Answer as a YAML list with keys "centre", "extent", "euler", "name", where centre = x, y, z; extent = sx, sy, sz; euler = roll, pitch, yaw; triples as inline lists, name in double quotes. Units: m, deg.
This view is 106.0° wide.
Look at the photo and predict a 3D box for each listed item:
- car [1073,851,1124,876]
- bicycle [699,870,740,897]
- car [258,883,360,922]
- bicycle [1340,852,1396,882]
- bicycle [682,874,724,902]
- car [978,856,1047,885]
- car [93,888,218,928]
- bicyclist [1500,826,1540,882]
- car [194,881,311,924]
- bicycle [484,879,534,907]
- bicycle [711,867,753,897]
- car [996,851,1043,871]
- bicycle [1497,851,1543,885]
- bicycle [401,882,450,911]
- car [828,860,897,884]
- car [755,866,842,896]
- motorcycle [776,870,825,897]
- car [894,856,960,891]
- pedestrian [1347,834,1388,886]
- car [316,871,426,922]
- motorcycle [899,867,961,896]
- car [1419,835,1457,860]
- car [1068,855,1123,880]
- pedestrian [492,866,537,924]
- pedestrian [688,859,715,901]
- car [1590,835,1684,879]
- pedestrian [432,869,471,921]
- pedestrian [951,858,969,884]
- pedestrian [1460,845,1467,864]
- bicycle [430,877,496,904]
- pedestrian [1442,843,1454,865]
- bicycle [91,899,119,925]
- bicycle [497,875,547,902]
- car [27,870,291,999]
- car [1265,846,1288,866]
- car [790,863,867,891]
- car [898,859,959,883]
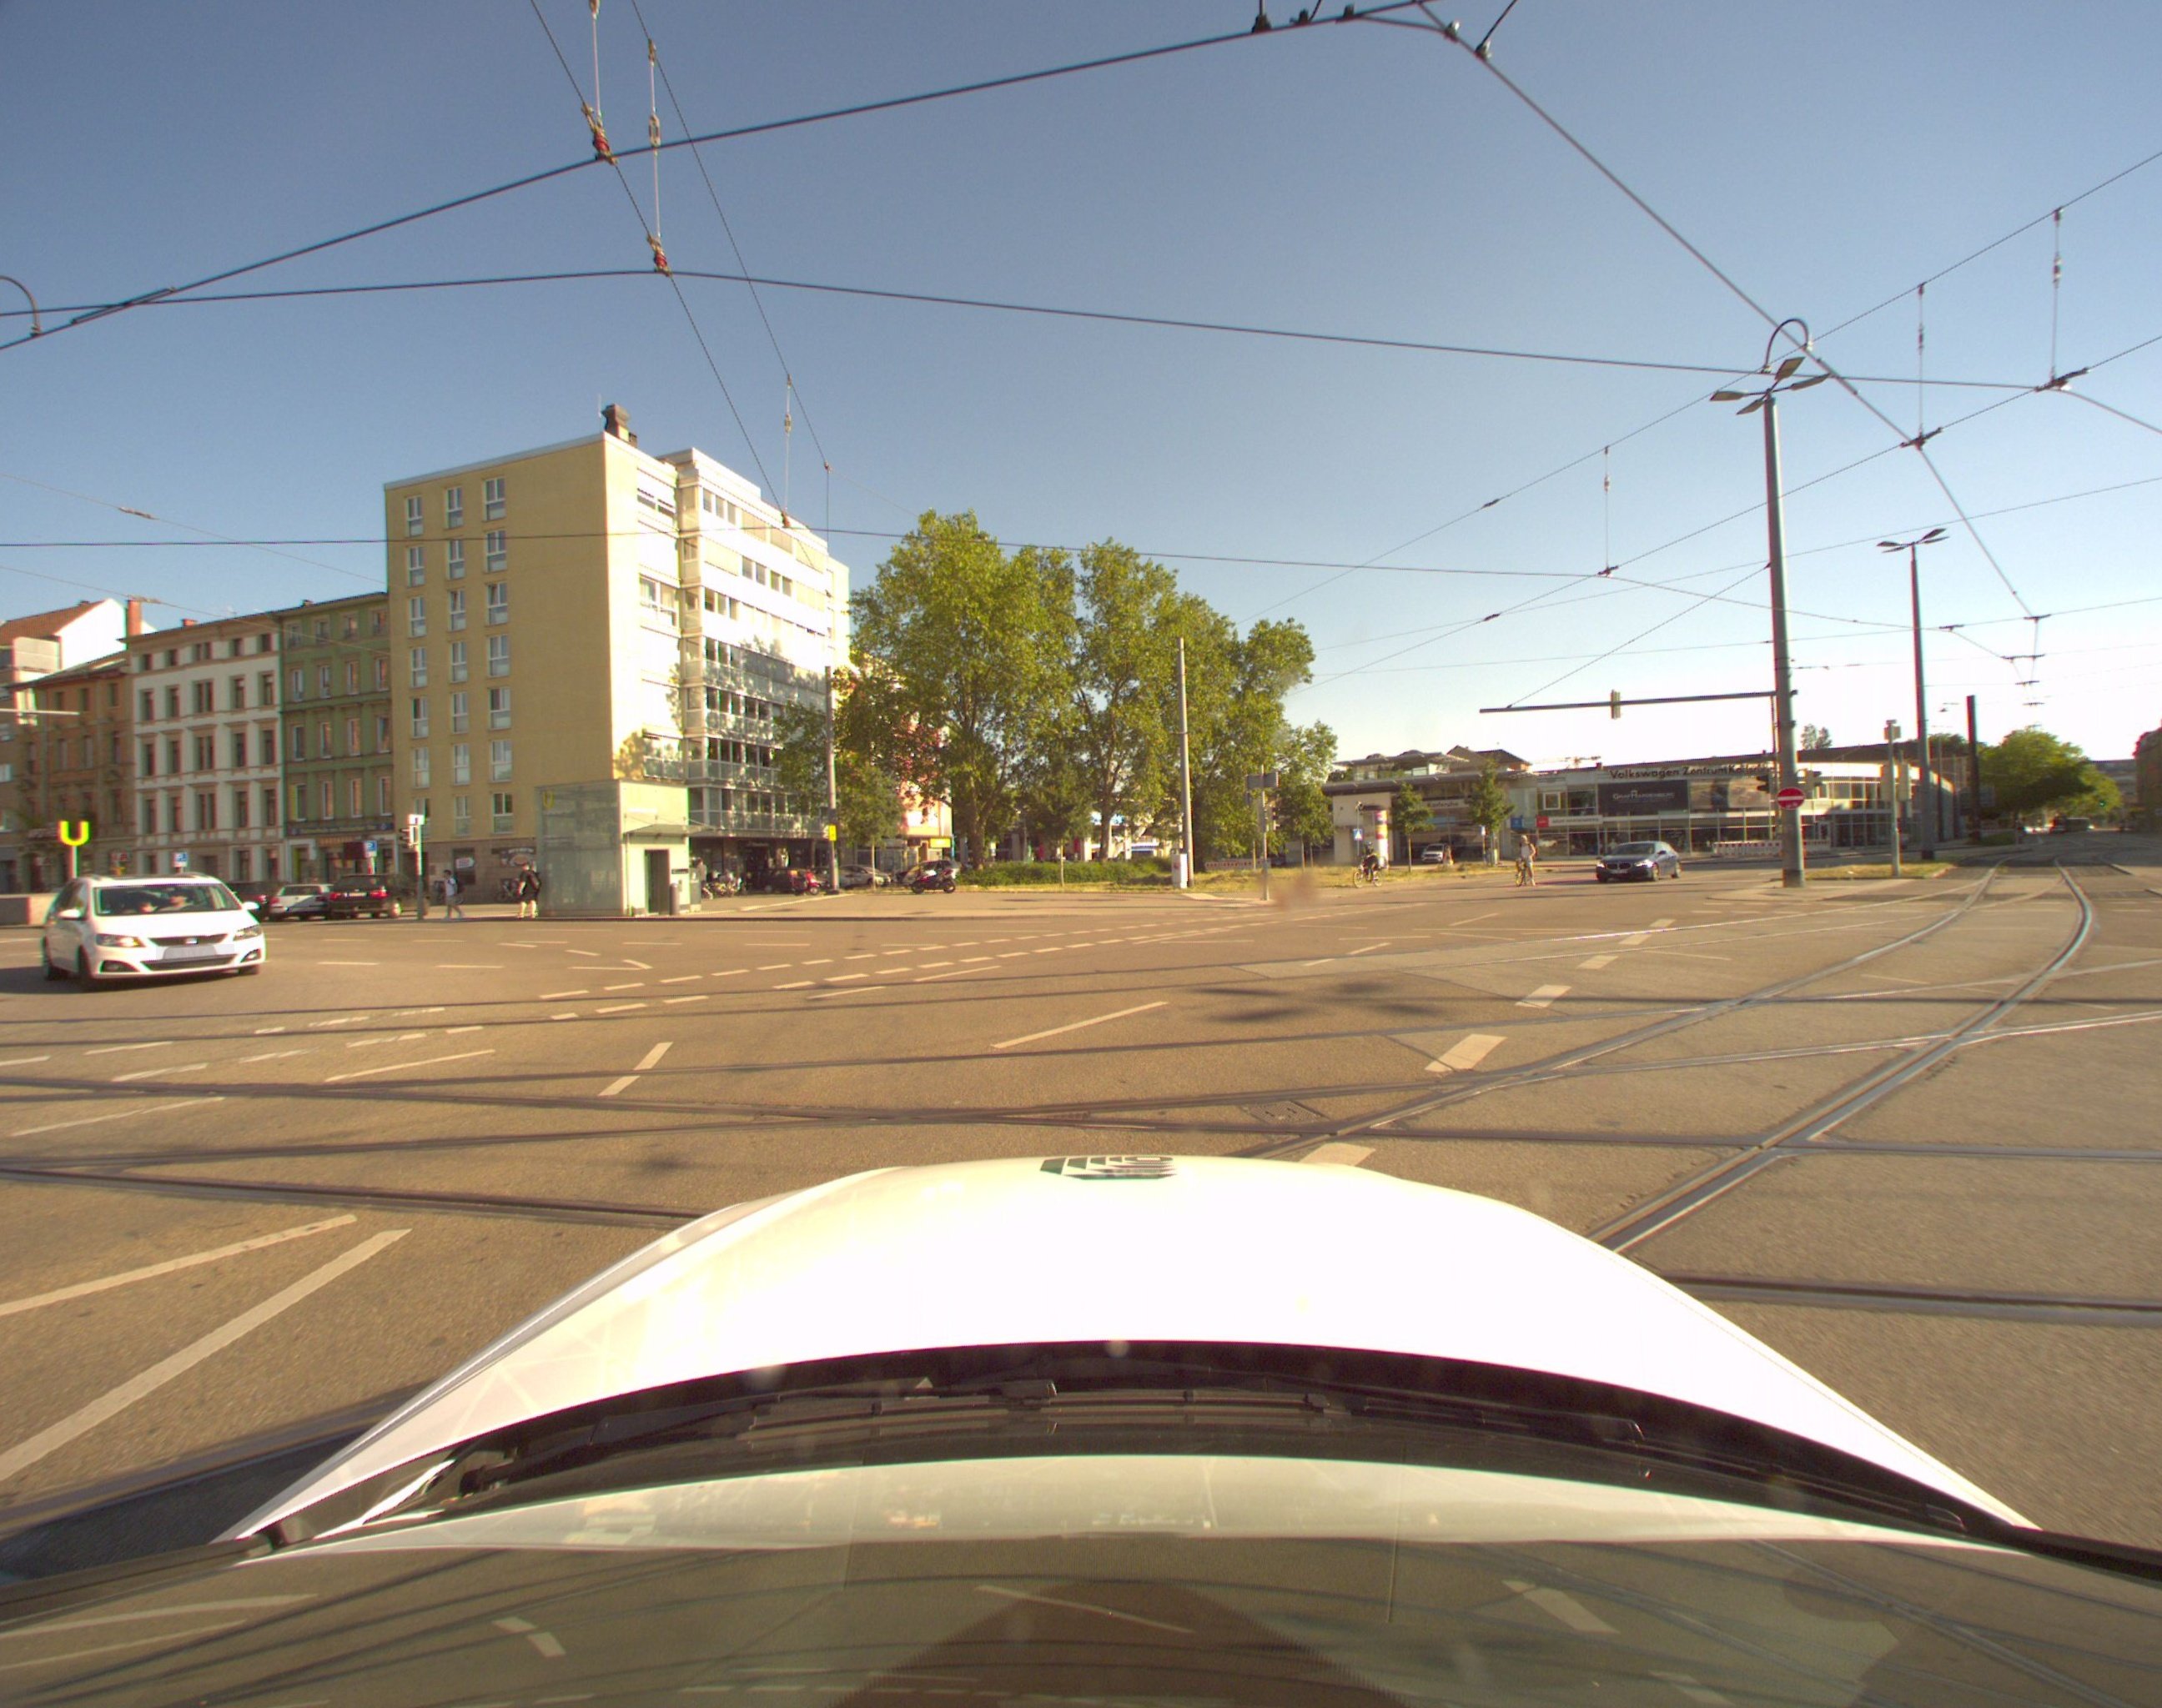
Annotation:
- centre: [1.514, 0.802, 70.082]
  extent: [3.956, 1.999, 1.865]
  euler: [1, 2, 16]
  name: "car"
- centre: [-18.239, 1.464, 41.154]
  extent: [0.807, 1.200, 2.006]
  euler: [-2, 1, 13]
  name: "bicycle"
- centre: [-30.351, 1.905, 32.178]
  extent: [1.792, 1.400, 3.859]
  euler: [-1, -2, -25]
  name: "car"
- centre: [11.631, 0.504, 32.940]
  extent: [2.544, 1.123, 1.022]
  euler: [-1, 2, -41]
  name: "bicycle"
- centre: [-19.160, 1.710, 41.367]
  extent: [0.807, 1.248, 2.006]
  euler: [-2, 1, 13]
  name: "bicycle"
- centre: [-4.035, 0.970, 48.417]
  extent: [3.977, 1.510, 1.798]
  euler: [-2, 0, -3]
  name: "car"
- centre: [-40.340, 2.296, 35.643]
  extent: [1.964, 1.464, 4.081]
  euler: [-2, 0, -23]
  name: "car"
- centre: [16.229, -0.003, 30.095]
  extent: [1.021, 2.014, 1.152]
  euler: [-4, -2, 38]
  name: "bicyclist"
- centre: [-33.687, 1.921, 33.274]
  extent: [1.963, 1.598, 4.216]
  euler: [-1, -2, -25]
  name: "car"
- centre: [-27.968, 1.926, 39.807]
  extent: [2.273, 1.248, 0.662]
  euler: [-2, 1, 16]
  name: "bicycle"
- centre: [-17.426, 1.406, 40.727]
  extent: [0.807, 1.345, 2.006]
  euler: [-2, 1, 13]
  name: "bicycle"
- centre: [-5.740, 0.665, 76.305]
  extent: [3.954, 1.779, 1.866]
  euler: [1, 2, 19]
  name: "car"
- centre: [16.253, 0.499, 30.135]
  extent: [1.021, 1.123, 2.547]
  euler: [-4, -1, 38]
  name: "bicycle"
- centre: [-33.440, 2.148, 41.560]
  extent: [2.202, 1.357, 0.938]
  euler: [1, 2, 21]
  name: "bicycle"
- centre: [-14.254, 1.173, 53.136]
  extent: [3.954, 1.420, 1.866]
  euler: [1, 2, 19]
  name: "car"
- centre: [-15.697, 1.503, 45.311]
  extent: [4.182, 1.482, 1.864]
  euler: [1, 2, 15]
  name: "car"
- centre: [-12.224, 1.281, 35.493]
  extent: [1.784, 1.046, 0.885]
  euler: [-3, 0, 16]
  name: "motorcycle"
- centre: [-8.791, 1.102, 46.926]
  extent: [1.900, 1.698, 4.020]
  euler: [-4, 0, 19]
  name: "car"
- centre: [11.569, 0.222, 32.877]
  extent: [1.277, 2.013, 1.022]
  euler: [-1, 2, -41]
  name: "pedestrian"
- centre: [-27.397, 1.604, 31.620]
  extent: [1.962, 1.814, 4.218]
  euler: [-1, -2, -23]
  name: "car"
- centre: [-6.136, 1.105, 33.149]
  extent: [2.265, 1.074, 1.042]
  euler: [-2, 1, 3]
  name: "motorcycle"
- centre: [30.429, -0.562, 69.389]
  extent: [1.974, 2.013, 4.026]
  euler: [1, 2, 39]
  name: "car"
- centre: [1.172, 1.028, 64.593]
  extent: [3.956, 1.868, 1.865]
  euler: [1, 2, 16]
  name: "car"
- centre: [-17.505, 1.247, 25.178]
  extent: [0.868, 1.728, 0.791]
  euler: [-2, 0, -13]
  name: "pedestrian"
- centre: [-16.223, 1.098, 34.794]
  extent: [0.689, 1.728, 0.758]
  euler: [-2, 0, 40]
  name: "pedestrian"
- centre: [20.330, 0.081, 29.732]
  extent: [4.023, 1.453, 1.976]
  euler: [-2, 0, -43]
  name: "car"
- centre: [-21.723, 1.416, 28.116]
  extent: [0.748, 1.728, 0.698]
  euler: [-2, 0, 2]
  name: "pedestrian"
- centre: [-8.495, 1.171, 57.130]
  extent: [0.877, 1.737, 0.909]
  euler: [1, 1, 21]
  name: "pedestrian"
- centre: [26.562, 0.007, 56.546]
  extent: [0.406, 1.315, 0.576]
  euler: [-2, 0, 27]
  name: "pedestrian"
- centre: [-30.801, 1.815, 40.620]
  extent: [3.028, 1.264, 0.992]
  euler: [-2, 0, 17]
  name: "bicycle"
- centre: [25.785, -0.014, 57.201]
  extent: [0.714, 1.515, 0.837]
  euler: [-2, 0, 27]
  name: "pedestrian"
- centre: [-43.618, 2.594, 36.410]
  extent: [0.421, 1.110, 1.085]
  euler: [0, -2, -30]
  name: "bicycle"
- centre: [-27.842, 1.714, 40.563]
  extent: [2.274, 1.248, 0.662]
  euler: [-2, 1, 16]
  name: "bicycle"
- centre: [-15.174, 1.210, 13.369]
  extent: [4.407, 1.733, 1.954]
  euler: [-2, 1, 30]
  name: "car"
- centre: [18.618, 0.146, 77.780]
  extent: [1.784, 1.509, 4.012]
  euler: [0, 5, 8]
  name: "car"
- centre: [-14.833, 1.325, 47.892]
  extent: [3.954, 1.420, 1.866]
  euler: [1, 2, 19]
  name: "car"
- centre: [-11.220, 1.229, 60.045]
  extent: [3.954, 1.635, 1.866]
  euler: [1, 2, 19]
  name: "car"
